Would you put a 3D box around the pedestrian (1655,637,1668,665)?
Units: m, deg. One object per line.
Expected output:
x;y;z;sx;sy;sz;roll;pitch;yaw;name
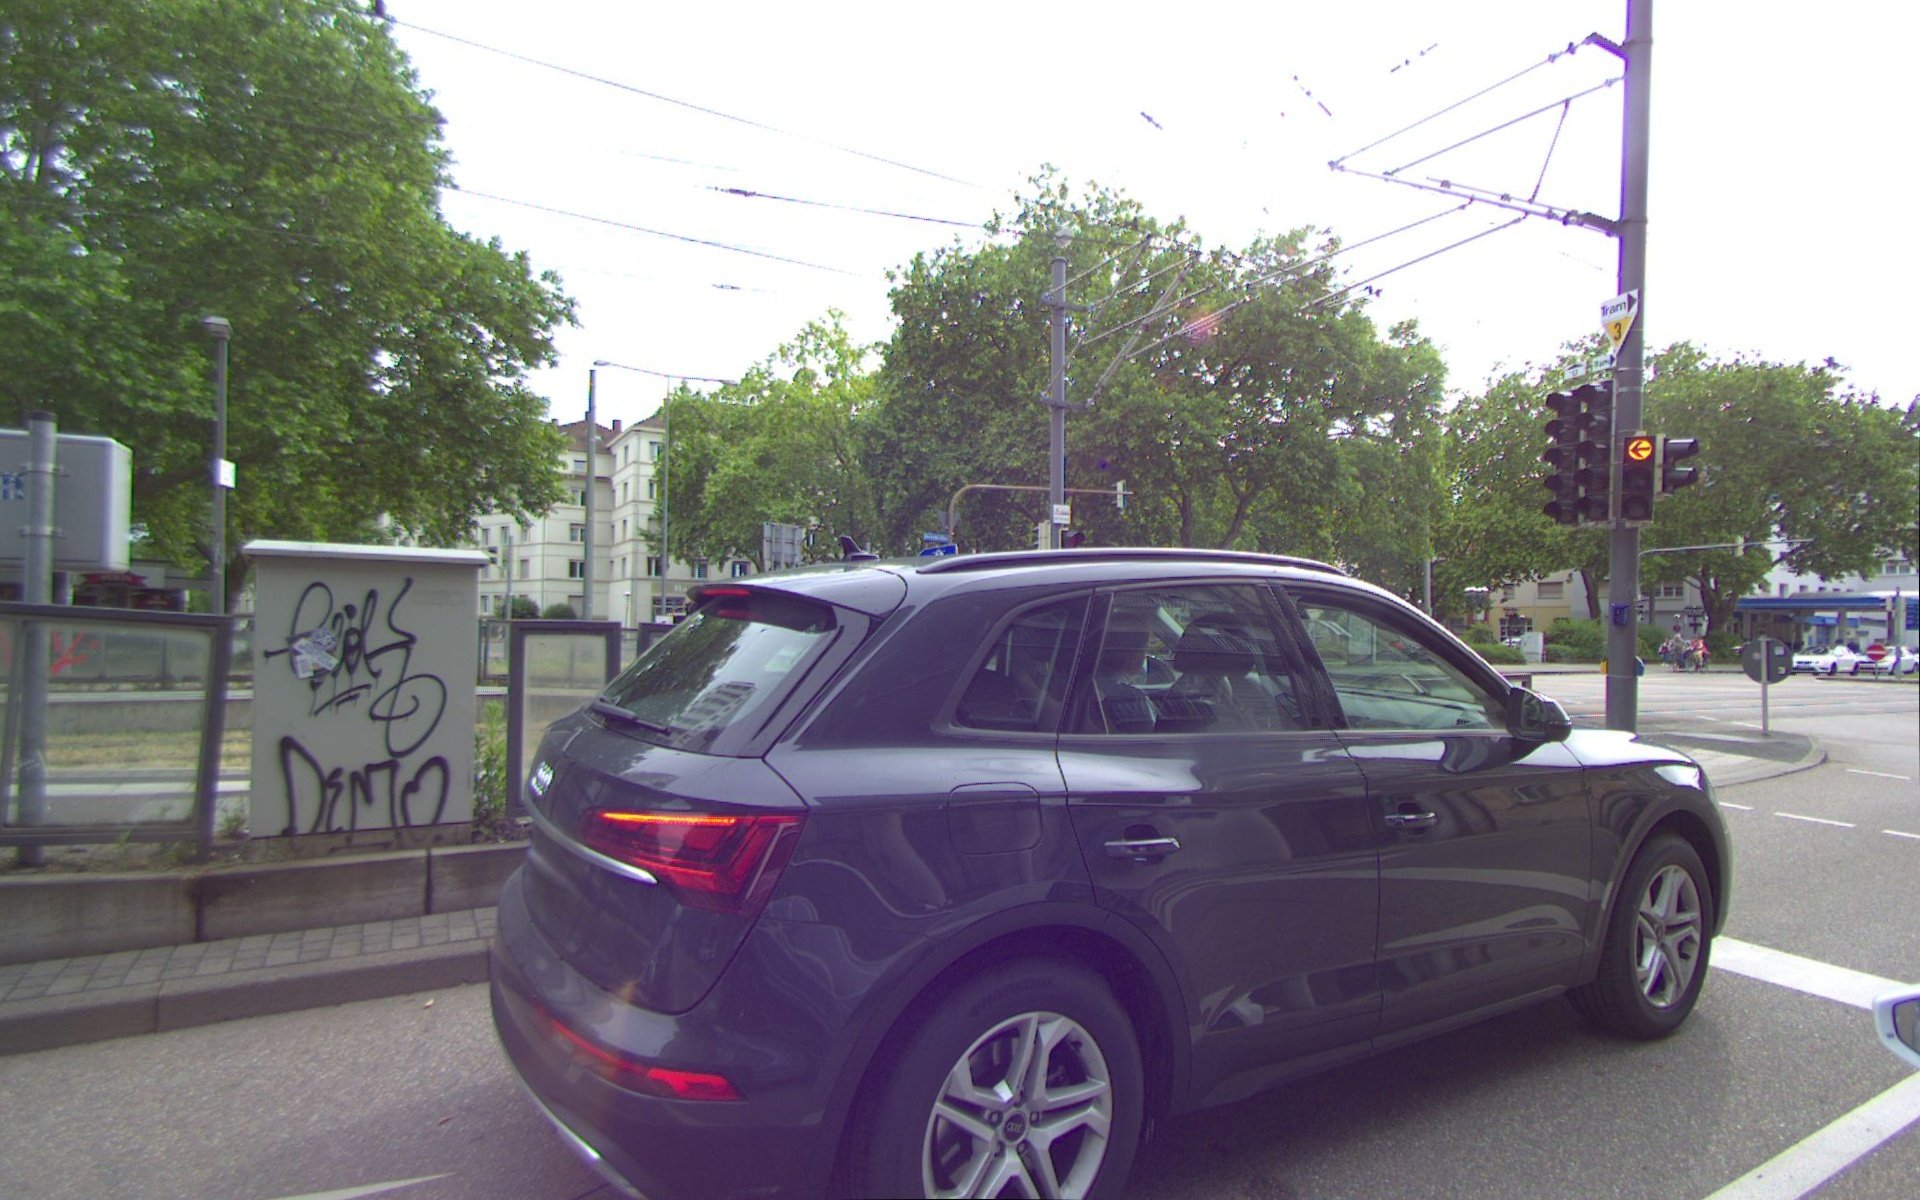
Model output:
38.227;2.786;54.733;0.421;1.479;0.474;2;-1;-30;pedestrian

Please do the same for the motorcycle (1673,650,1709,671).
33.695;2.774;46.295;1.928;0.941;0.604;2;-1;-30;motorcycle

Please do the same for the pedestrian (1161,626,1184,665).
8.641;1.849;40.777;0.648;1.530;0.679;0;-1;44;pedestrian

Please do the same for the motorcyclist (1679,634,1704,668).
33.704;2.353;46.299;0.863;1.540;0.617;2;-1;-30;motorcyclist

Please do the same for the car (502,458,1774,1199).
0.808;0.648;3.455;4.177;1.658;1.725;2;0;-30;car

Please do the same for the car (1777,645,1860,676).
41.266;2.909;48.269;4.025;1.338;1.739;2;0;-29;car

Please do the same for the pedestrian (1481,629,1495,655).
35.770;2.845;68.026;0.599;1.723;0.604;1;-1;-1;pedestrian

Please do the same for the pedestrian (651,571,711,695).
-4.138;0.476;14.901;0.658;1.773;0.732;2;0;-30;pedestrian

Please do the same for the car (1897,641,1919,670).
52.772;3.037;54.591;3.593;1.497;1.649;2;0;-29;car

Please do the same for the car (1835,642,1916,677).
46.968;3.026;51.509;3.953;1.615;1.984;2;0;-30;car

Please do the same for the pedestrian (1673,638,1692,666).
38.827;2.806;53.991;0.550;1.499;0.644;2;-1;-30;pedestrian

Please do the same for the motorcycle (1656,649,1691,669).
33.975;2.802;47.813;1.928;0.941;0.604;2;-1;-30;motorcycle

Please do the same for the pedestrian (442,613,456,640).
-39.944;2.072;78.485;0.657;2.040;0.675;2;0;21;pedestrian

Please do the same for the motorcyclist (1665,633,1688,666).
34.161;2.374;47.897;0.863;1.540;0.617;2;-1;-30;motorcyclist

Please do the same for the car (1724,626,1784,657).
54.942;2.890;69.506;3.953;2.040;1.984;2;-1;-30;car
